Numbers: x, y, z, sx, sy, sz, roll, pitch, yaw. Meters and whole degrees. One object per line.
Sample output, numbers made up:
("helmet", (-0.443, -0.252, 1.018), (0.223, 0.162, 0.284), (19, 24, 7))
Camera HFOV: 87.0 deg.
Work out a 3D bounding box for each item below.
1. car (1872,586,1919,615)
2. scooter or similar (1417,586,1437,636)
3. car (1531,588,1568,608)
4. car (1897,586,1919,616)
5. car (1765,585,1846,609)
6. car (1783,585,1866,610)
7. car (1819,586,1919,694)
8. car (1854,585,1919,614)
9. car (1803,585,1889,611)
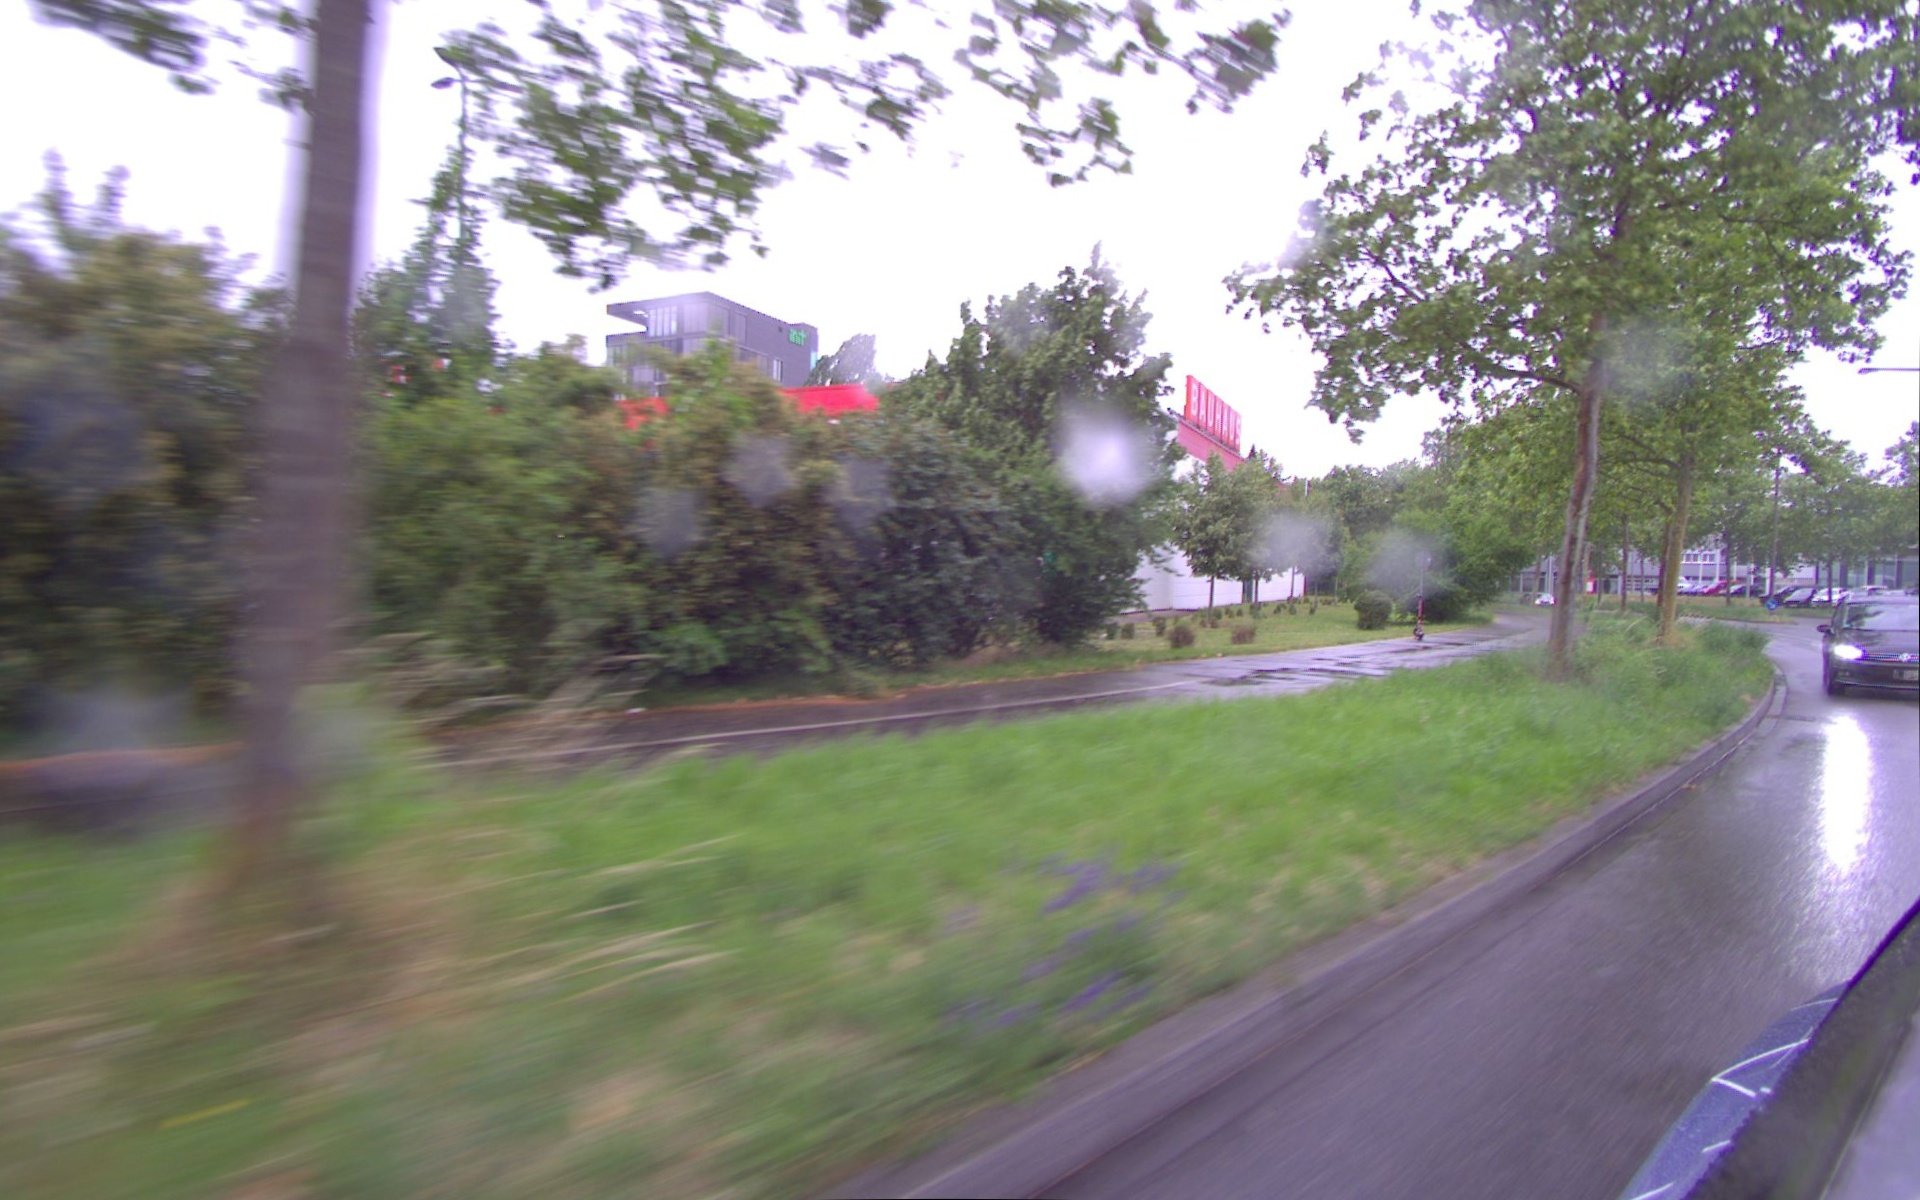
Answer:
("car", (56.779, -0.007, 59.755), (3.936, 1.680, 1.859), (0, 1, 11))
("scooter or similar", (12.434, 0.270, 26.962), (0.446, 1.290, 1.588), (1, 1, 24))
("car", (51.324, -0.190, 88.209), (1.974, 1.671, 3.977), (1, 1, 18))
("car", (56.134, 0.060, 57.428), (3.936, 1.680, 1.859), (0, 1, 11))
("car", (60.290, -0.210, 72.222), (3.936, 1.680, 1.859), (0, 1, 11))
("car", (59.988, -0.181, 70.301), (3.936, 1.680, 1.859), (0, 1, 11))
("car", (15.955, 0.595, 17.190), (1.779, 1.635, 4.654), (0, 0, 37))
("car", (57.586, -0.043, 61.890), (3.936, 1.680, 1.859), (0, 1, 11))
("car", (59.697, -0.150, 68.269), (3.936, 1.680, 1.859), (0, 1, 11))
